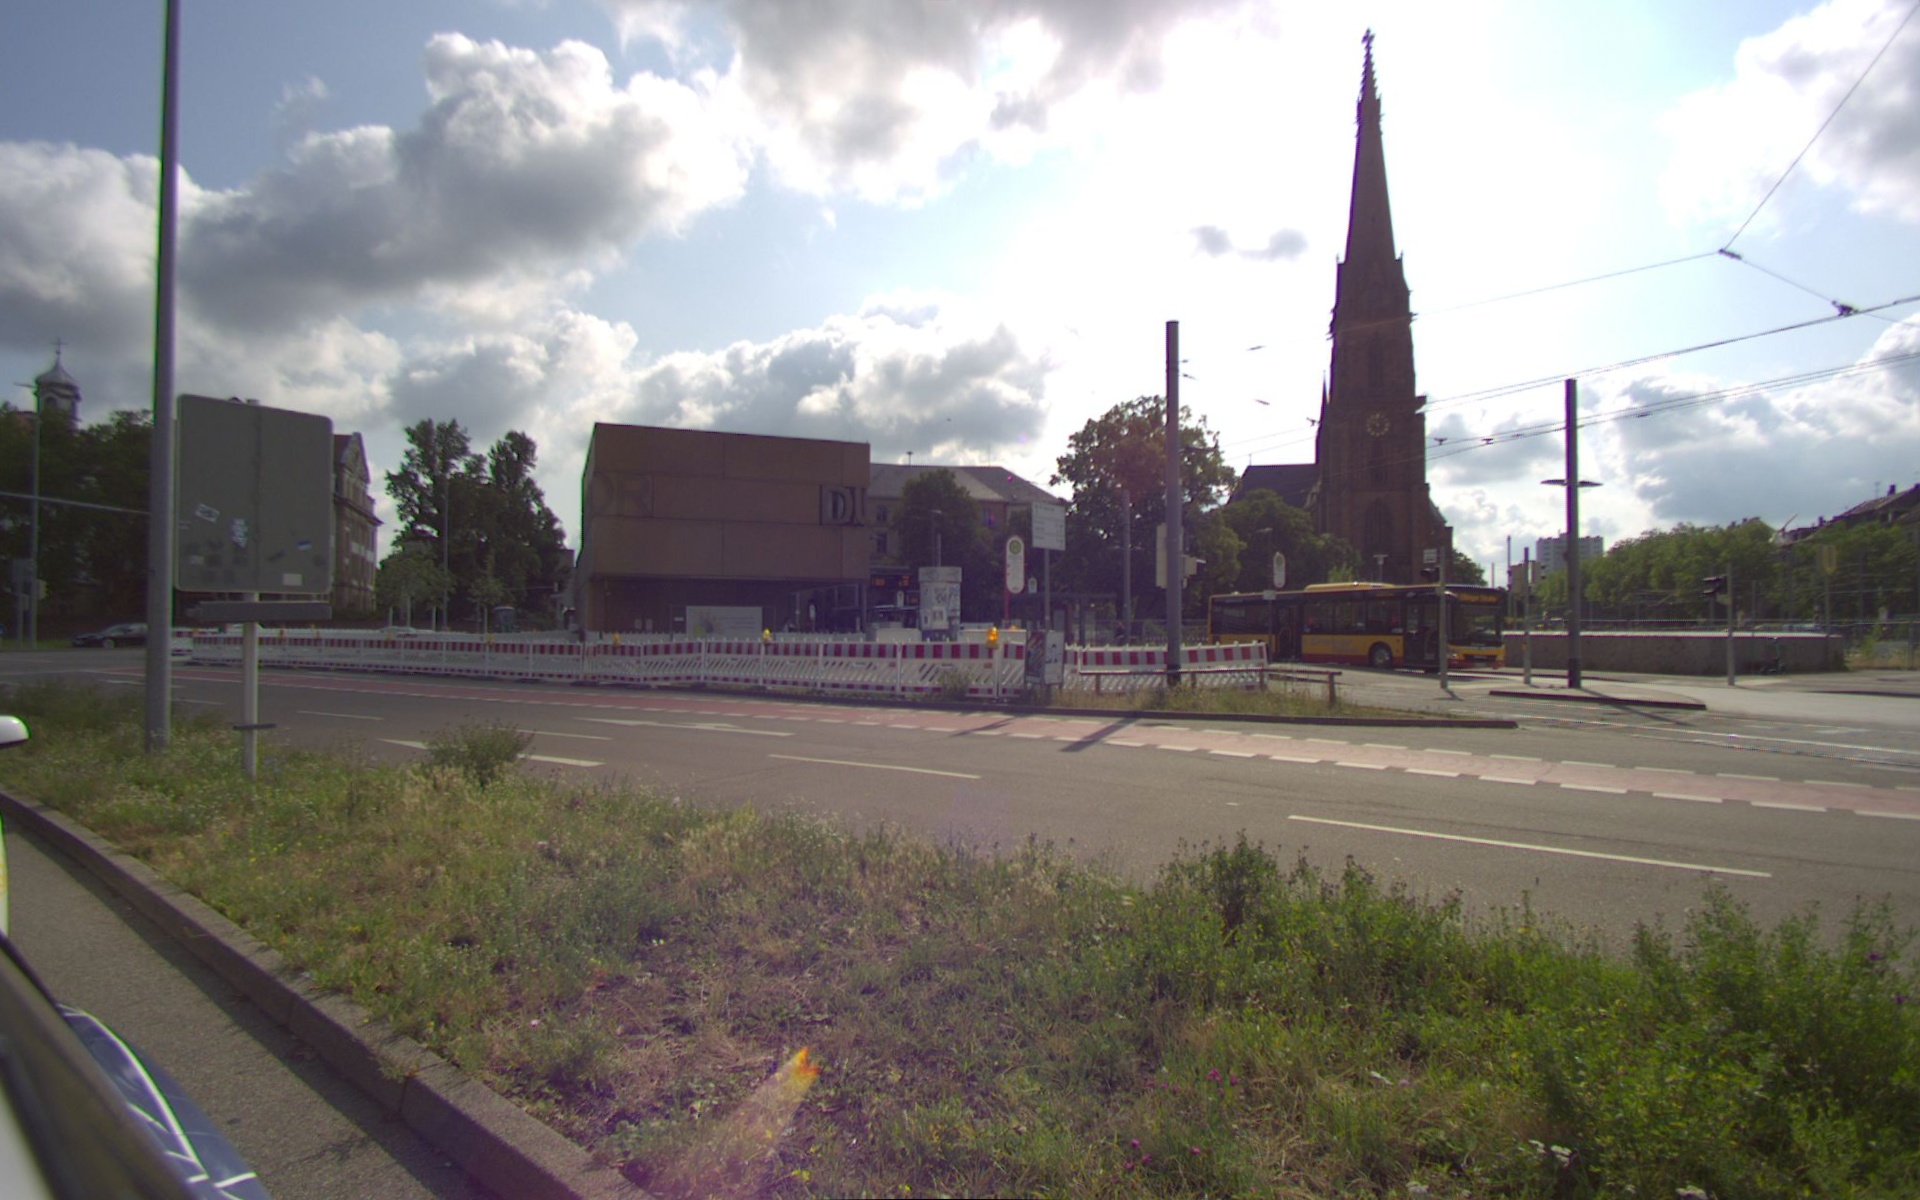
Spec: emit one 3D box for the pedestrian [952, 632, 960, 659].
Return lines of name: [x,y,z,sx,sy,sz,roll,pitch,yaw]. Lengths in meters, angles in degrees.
pedestrian: [-0.217,2.687,60.172,0.352,1.614,0.365,0,-1,-28]

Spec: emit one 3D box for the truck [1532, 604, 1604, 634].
truck: [77.222,2.461,128.680,7.389,3.676,2.456,-1,-2,19]

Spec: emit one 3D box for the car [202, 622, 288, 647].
car: [-42.401,2.049,60.118,1.741,1.401,4.115,0,-2,11]

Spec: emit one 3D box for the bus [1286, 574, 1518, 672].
bus: [14.273,0.784,33.410,2.653,2.855,7.123,1,-2,-23]

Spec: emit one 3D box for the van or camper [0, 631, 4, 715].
van or camper: [-5.391,0.844,4.324,4.000,1.487,1.605,-1,-3,43]

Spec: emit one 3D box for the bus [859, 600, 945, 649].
bus: [-4.708,1.931,78.548,2.913,3.534,12.293,1,-2,-22]

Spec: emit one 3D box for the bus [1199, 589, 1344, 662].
bus: [11.894,1.005,39.076,2.655,2.607,5.094,1,-2,-23]

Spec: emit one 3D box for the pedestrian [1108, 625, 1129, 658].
pedestrian: [7.838,2.037,50.080,0.654,1.617,0.740,2,-2,-42]

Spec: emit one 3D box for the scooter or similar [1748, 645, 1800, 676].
scooter or similar: [25.813,1.920,32.085,1.635,0.957,0.475,1,-2,-20]

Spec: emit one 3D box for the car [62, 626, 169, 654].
car: [-43.888,2.070,52.722,1.741,1.401,4.115,0,-2,11]
